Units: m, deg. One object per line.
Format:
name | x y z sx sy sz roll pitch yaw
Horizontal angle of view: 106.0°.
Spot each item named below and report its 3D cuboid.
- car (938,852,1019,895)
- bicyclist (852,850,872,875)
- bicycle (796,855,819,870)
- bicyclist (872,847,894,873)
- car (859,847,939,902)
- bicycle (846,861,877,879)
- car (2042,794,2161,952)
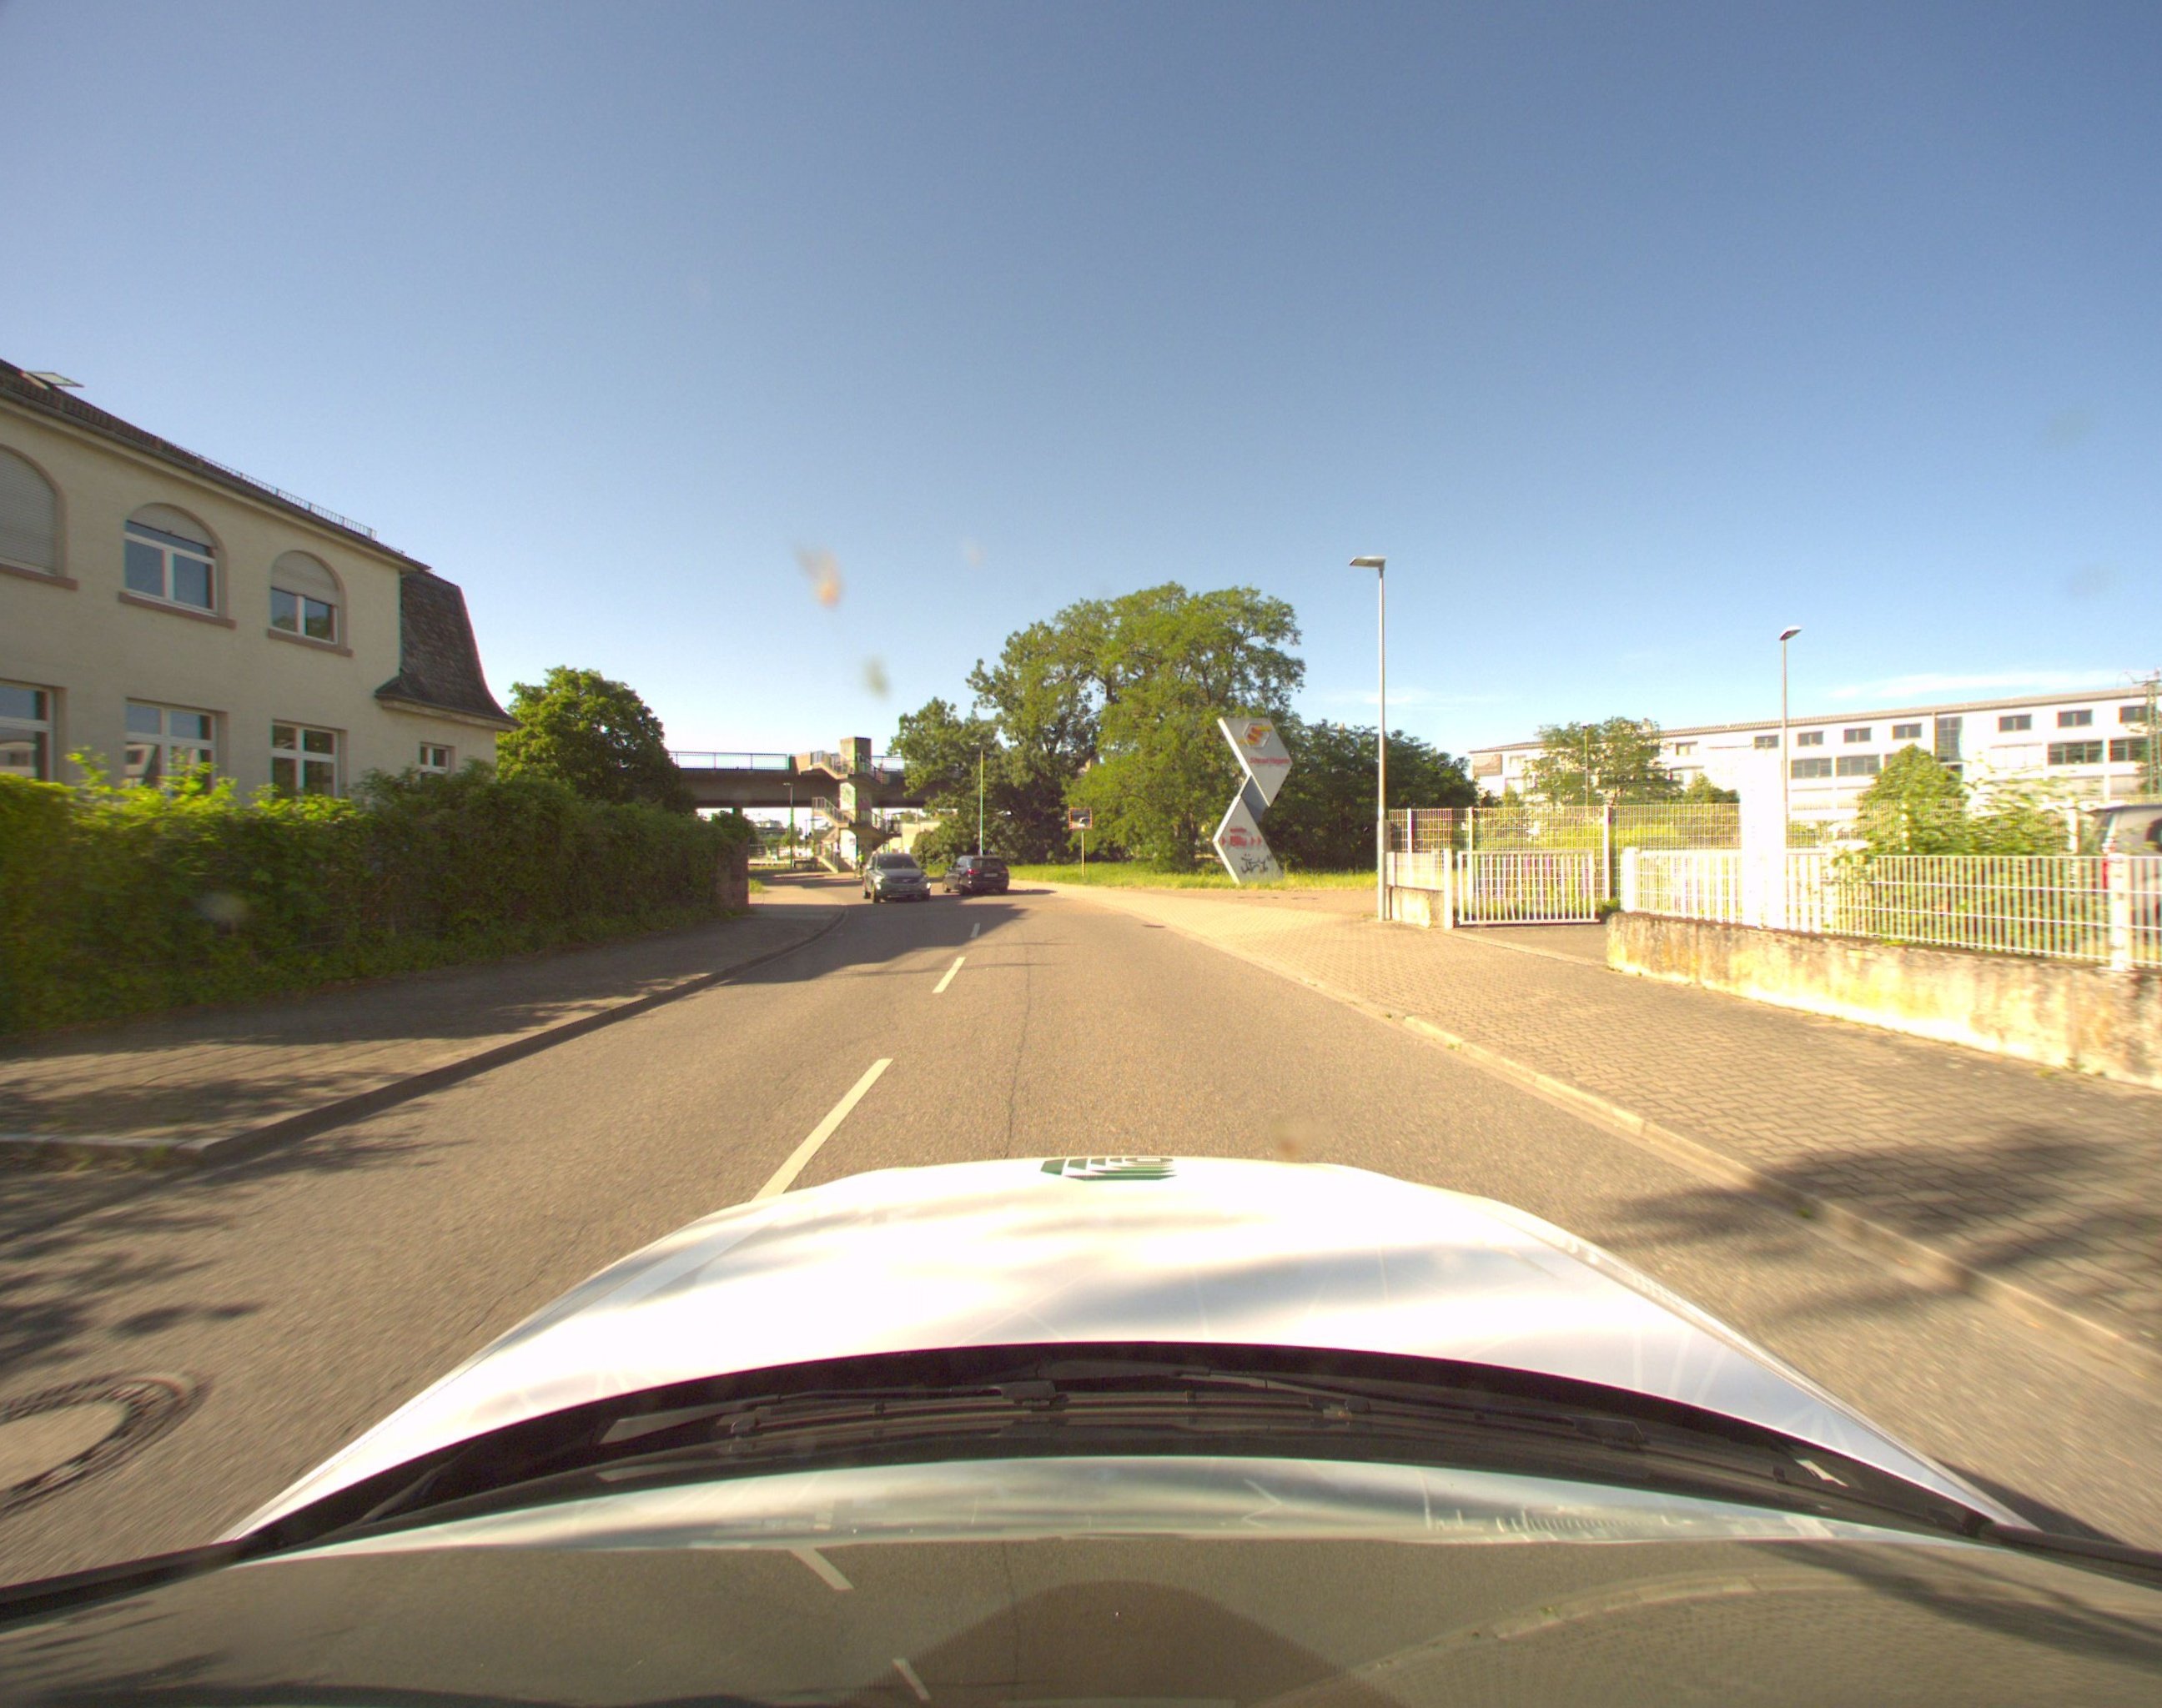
car | -4.048 0.705 31.512 1.950 1.488 4.531 -1 0 -22
bicyclist | -13.423 0.540 49.911 0.912 1.488 0.849 -1 0 42
bicycle | -21.781 0.672 64.787 2.153 1.182 0.603 -1 1 36
bicyclist | -11.441 0.361 47.047 0.912 1.488 0.848 -1 0 44
car | -6.462 0.660 28.542 2.002 1.695 4.531 -1 0 -22
bicycle | -13.493 0.955 50.001 2.162 1.051 0.848 -1 1 43
car | 13.855 0.185 8.838 2.011 1.777 4.312 -1 0 -43
